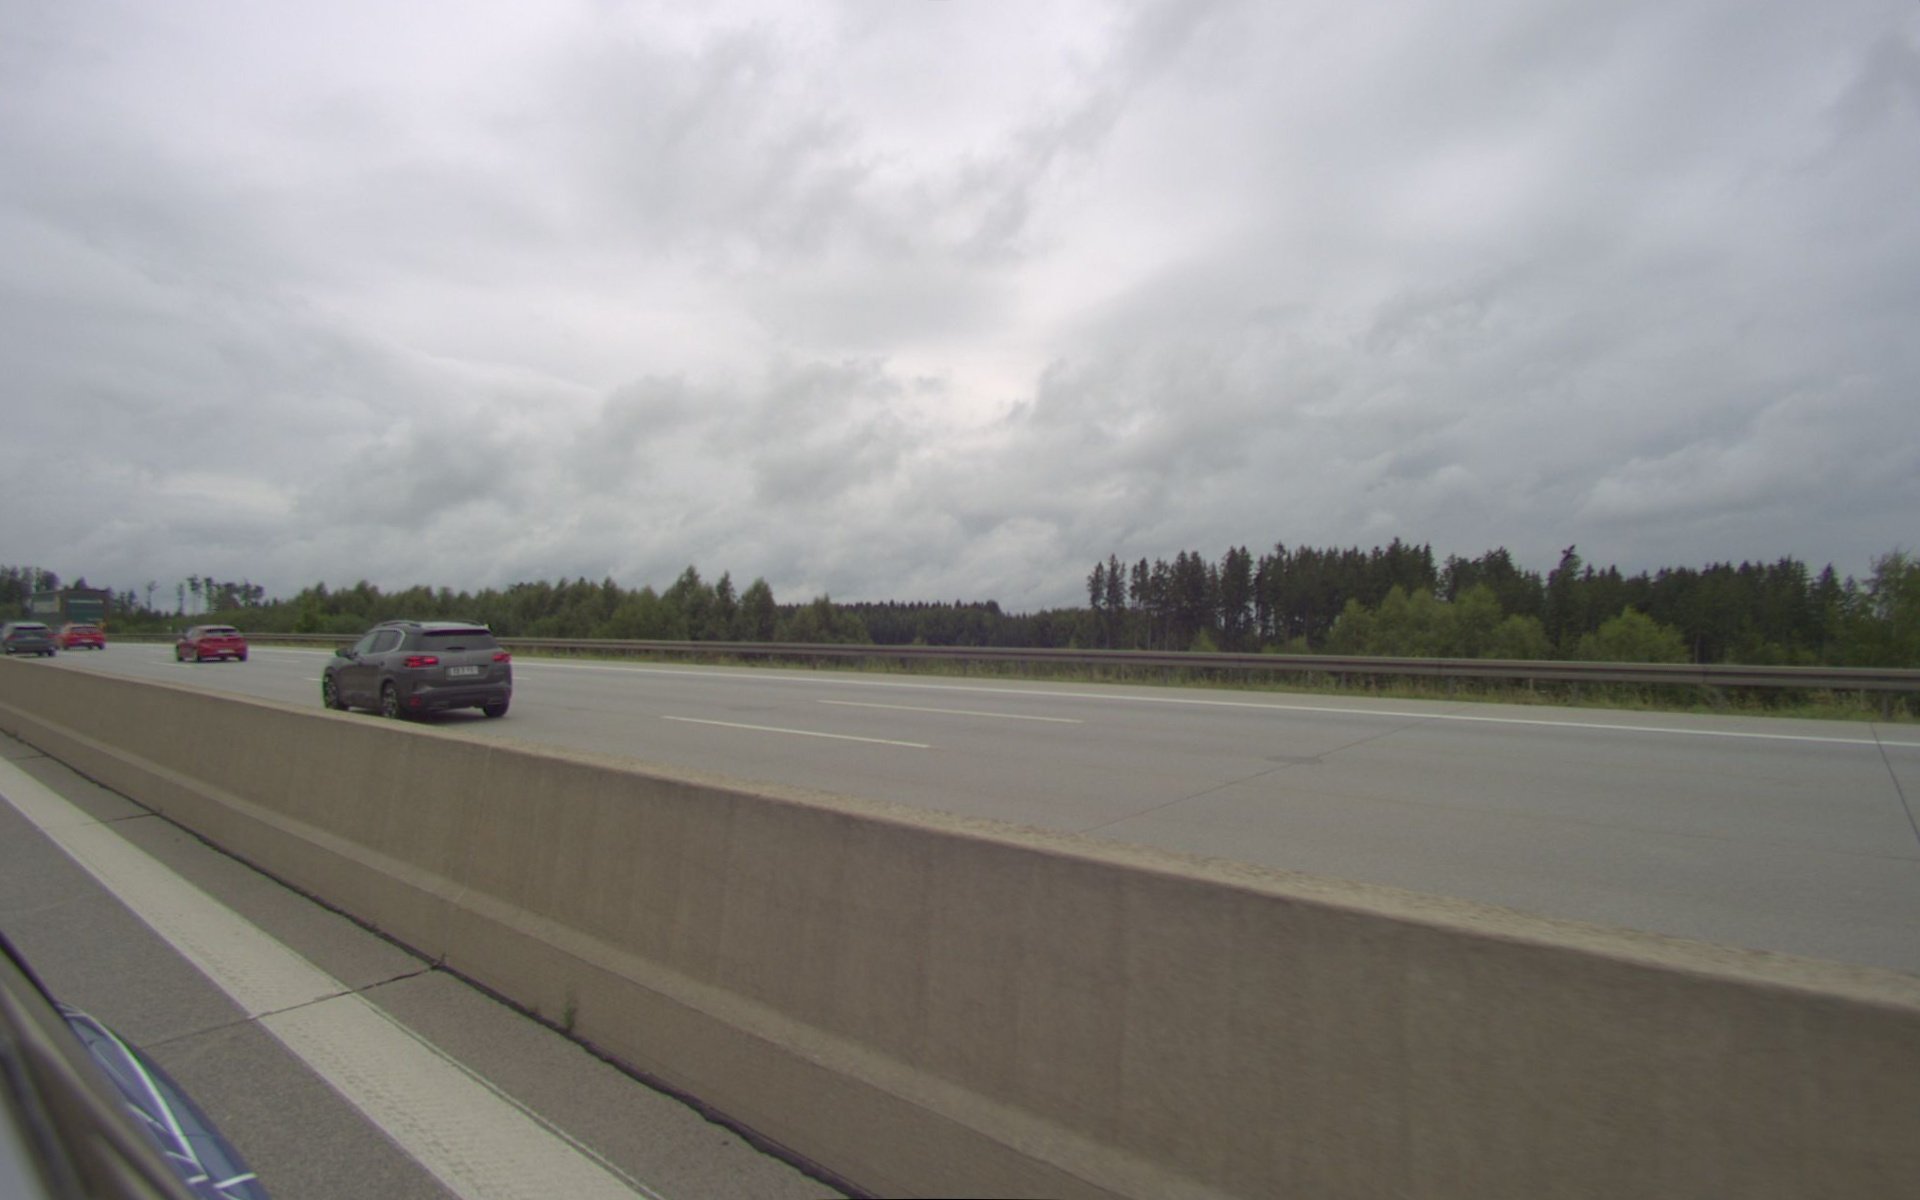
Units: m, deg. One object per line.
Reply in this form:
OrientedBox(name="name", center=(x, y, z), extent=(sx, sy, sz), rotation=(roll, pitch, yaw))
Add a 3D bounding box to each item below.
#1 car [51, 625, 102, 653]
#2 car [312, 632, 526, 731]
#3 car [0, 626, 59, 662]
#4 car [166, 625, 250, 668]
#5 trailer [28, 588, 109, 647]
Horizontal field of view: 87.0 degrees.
OrientedBox(name="car", center=(-50.591, 2.258, 57.902), extent=(4.483, 1.519, 1.503), rotation=(-2, -3, 40))
OrientedBox(name="car", center=(-9.306, 1.294, 17.275), extent=(4.340, 1.428, 1.774), rotation=(-1, -1, 40))
OrientedBox(name="car", center=(-43.992, 2.069, 47.604), extent=(4.967, 1.600, 1.704), rotation=(-3, -3, 40))
OrientedBox(name="car", center=(-30.357, 1.836, 40.826), extent=(4.483, 1.519, 1.700), rotation=(0, -1, 40))
OrientedBox(name="trailer", center=(-69.823, 1.463, 79.164), extent=(12.153, 4.314, 2.738), rotation=(-3, -2, 39))
